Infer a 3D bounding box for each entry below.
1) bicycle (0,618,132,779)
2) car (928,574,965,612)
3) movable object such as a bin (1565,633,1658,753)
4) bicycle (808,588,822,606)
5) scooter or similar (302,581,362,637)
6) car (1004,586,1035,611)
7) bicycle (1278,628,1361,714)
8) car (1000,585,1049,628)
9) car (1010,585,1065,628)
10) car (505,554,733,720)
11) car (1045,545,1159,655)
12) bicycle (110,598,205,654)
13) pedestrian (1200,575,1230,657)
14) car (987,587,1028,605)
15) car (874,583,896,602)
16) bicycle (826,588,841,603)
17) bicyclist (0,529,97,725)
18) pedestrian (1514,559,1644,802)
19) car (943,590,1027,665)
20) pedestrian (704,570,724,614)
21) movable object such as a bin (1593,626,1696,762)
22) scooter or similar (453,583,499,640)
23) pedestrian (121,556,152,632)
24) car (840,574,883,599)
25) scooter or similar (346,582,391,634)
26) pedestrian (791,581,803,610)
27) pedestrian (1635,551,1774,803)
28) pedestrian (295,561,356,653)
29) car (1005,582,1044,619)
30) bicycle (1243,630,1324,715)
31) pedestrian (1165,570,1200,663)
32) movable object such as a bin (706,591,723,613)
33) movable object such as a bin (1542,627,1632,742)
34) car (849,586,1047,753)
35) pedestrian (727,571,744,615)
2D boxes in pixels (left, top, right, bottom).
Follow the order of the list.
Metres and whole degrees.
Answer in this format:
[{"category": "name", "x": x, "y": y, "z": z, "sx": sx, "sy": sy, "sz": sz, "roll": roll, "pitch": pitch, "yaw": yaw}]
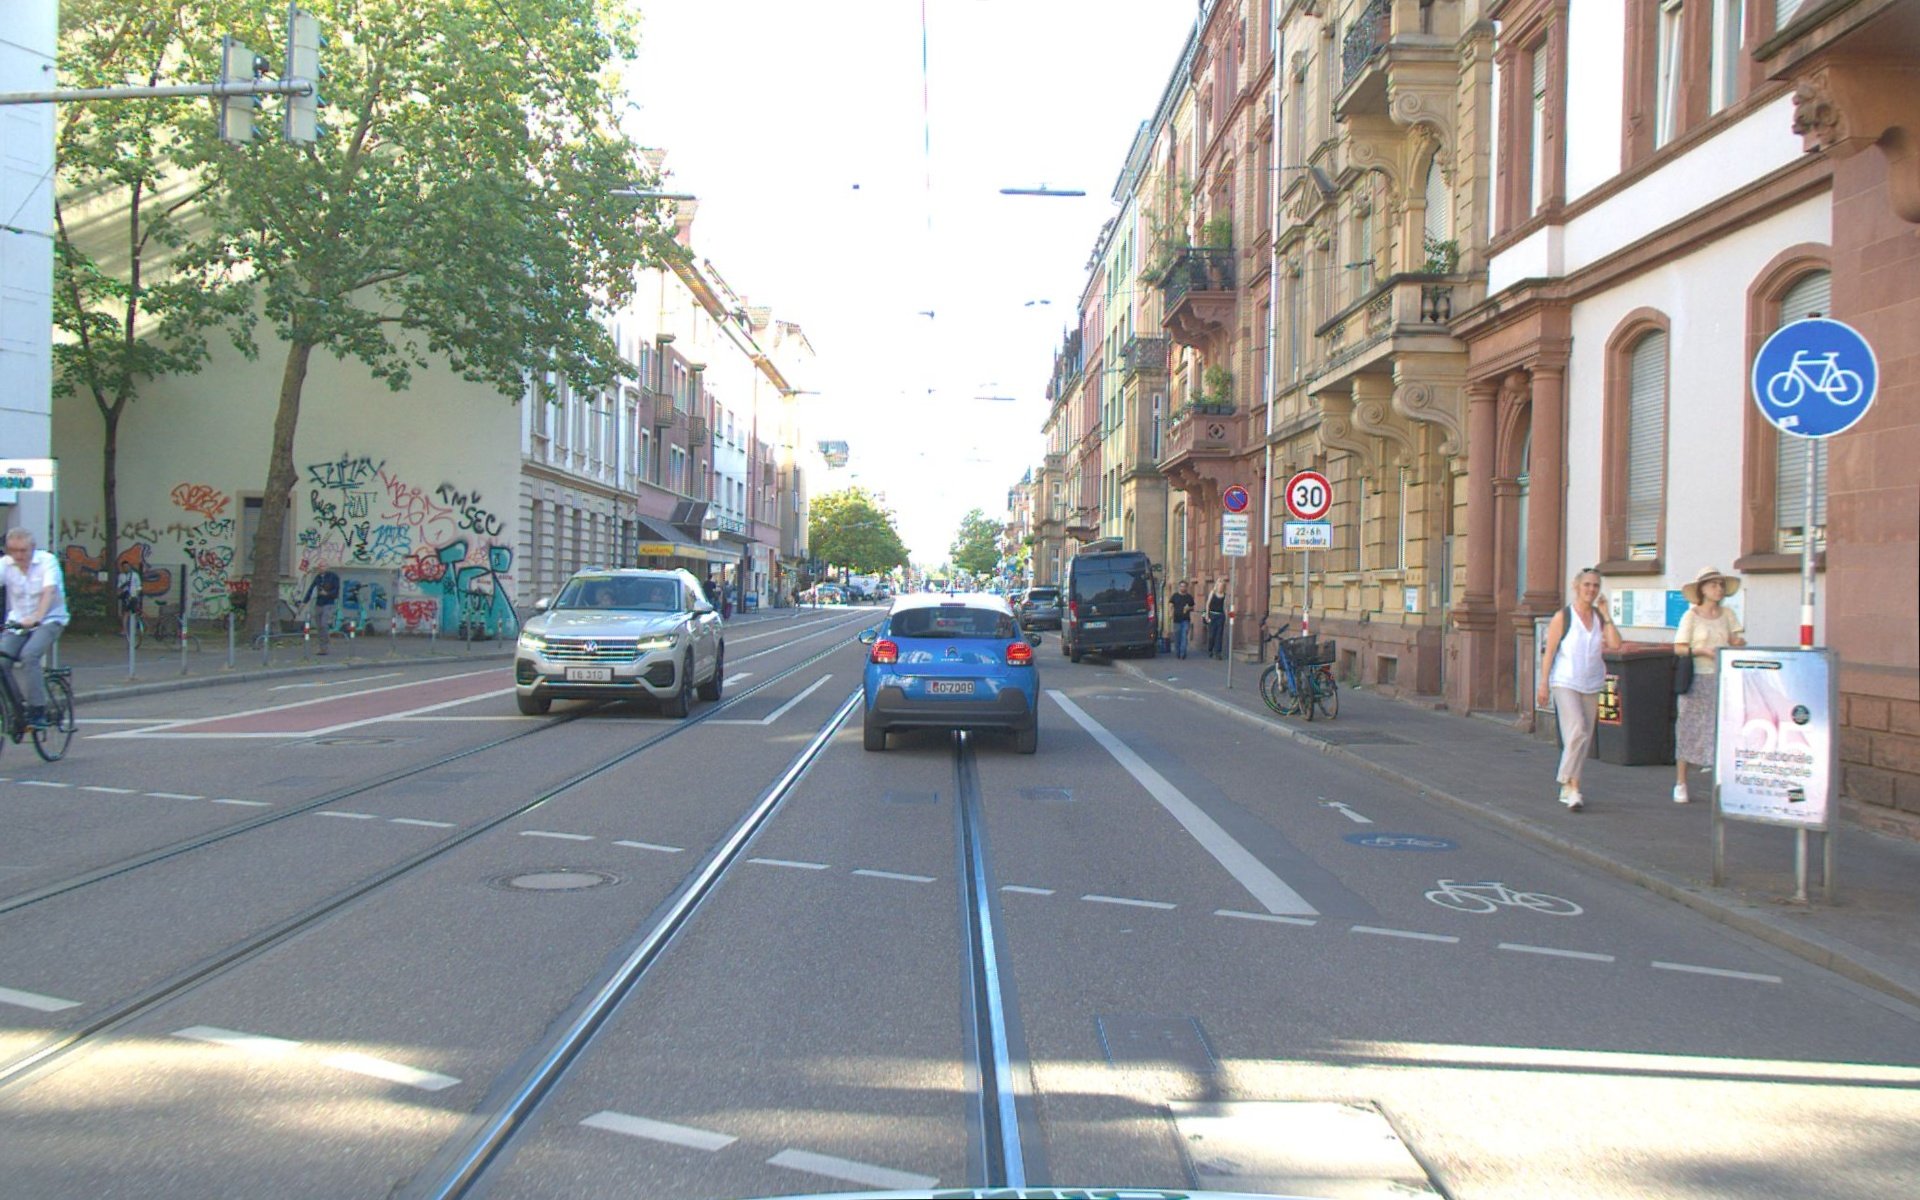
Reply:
[{"category": "bicycle", "x": -7.417, "y": 0.740, "z": 13.121, "sx": 0.678, "sy": 1.140, "sz": 2.083, "roll": -1, "pitch": 0, "yaw": -2}, {"category": "car", "x": -0.776, "y": -0.394, "z": 91.232, "sx": 1.953, "sy": 2.049, "sz": 3.999, "roll": 1, "pitch": 0, "yaw": -2}, {"category": "movable object such as a bin", "x": 6.142, "y": 0.868, "z": 15.612, "sx": 0.652, "sy": 1.095, "sz": 0.571, "roll": 0, "pitch": 0, "yaw": -2}, {"category": "bicycle", "x": -11.600, "y": -0.254, "z": 132.282, "sx": 1.099, "sy": 1.342, "sz": 3.639, "roll": 1, "pitch": 0, "yaw": -6}, {"category": "scooter or similar", "x": -14.729, "y": 0.198, "z": 38.815, "sx": 1.207, "sy": 1.280, "sz": 0.765, "roll": 1, "pitch": 0, "yaw": -13}, {"category": "car", "x": 4.175, "y": -0.124, "z": 116.927, "sx": 1.965, "sy": 1.701, "sz": 4.390, "roll": 0, "pitch": 0, "yaw": -1}, {"category": "bicycle", "x": 4.451, "y": 0.860, "z": 20.558, "sx": 0.423, "sy": 0.964, "sz": 1.760, "roll": 1, "pitch": 0, "yaw": -8}, {"category": "car", "x": 2.818, "y": 0.255, "z": 72.632, "sx": 1.867, "sy": 1.788, "sz": 3.999, "roll": 1, "pitch": 0, "yaw": -2}, {"category": "car", "x": 3.153, "y": 0.243, "z": 68.053, "sx": 1.965, "sy": 1.701, "sz": 4.805, "roll": 1, "pitch": 0, "yaw": -1}, {"category": "car", "x": -4.033, "y": 0.394, "z": 20.345, "sx": 1.953, "sy": 1.774, "sz": 4.561, "roll": 1, "pitch": 0, "yaw": -2}, {"category": "car", "x": 3.413, "y": -0.018, "z": 40.880, "sx": 2.225, "sy": 2.479, "sz": 5.719, "roll": 1, "pitch": 0, "yaw": -1}, {"category": "bicycle", "x": -15.851, "y": 0.495, "z": 32.677, "sx": 1.878, "sy": 1.052, "sz": 0.664, "roll": 1, "pitch": 0, "yaw": 26}, {"category": "pedestrian", "x": 5.712, "y": 0.345, "z": 37.065, "sx": 0.542, "sy": 1.813, "sz": 0.606, "roll": 1, "pitch": 0, "yaw": -2}, {"category": "car", "x": 4.552, "y": -0.374, "z": 157.797, "sx": 3.759, "sy": 1.646, "sz": 1.790, "roll": 1, "pitch": 0, "yaw": -3}, {"category": "car", "x": -6.921, "y": -0.689, "z": 153.917, "sx": 1.953, "sy": 1.680, "sz": 3.999, "roll": 1, "pitch": 0, "yaw": -2}, {"category": "bicycle", "x": -10.116, "y": -0.349, "z": 132.549, "sx": 1.099, "sy": 1.166, "sz": 3.639, "roll": 1, "pitch": 0, "yaw": -6}, {"category": "bicyclist", "x": -7.407, "y": 0.205, "z": 13.146, "sx": 0.668, "sy": 1.509, "sz": 0.778, "roll": 1, "pitch": 0, "yaw": -2}, {"category": "pedestrian", "x": 4.539, "y": 0.575, "z": 12.159, "sx": 0.615, "sy": 1.731, "sz": 0.681, "roll": 1, "pitch": 0, "yaw": -10}, {"category": "car", "x": 0.484, "y": 0.546, "z": 35.831, "sx": 1.633, "sy": 1.504, "sz": 3.999, "roll": 1, "pitch": 0, "yaw": -2}, {"category": "pedestrian", "x": -10.083, "y": -0.318, "z": 67.829, "sx": 0.696, "sy": 1.795, "sz": 0.570, "roll": 1, "pitch": 0, "yaw": -2}, {"category": "movable object such as a bin", "x": 6.208, "y": 0.840, "z": 15.024, "sx": 0.652, "sy": 1.173, "sz": 0.594, "roll": -2, "pitch": 1, "yaw": -2}, {"category": "scooter or similar", "x": -11.855, "y": 0.271, "z": 40.569, "sx": 0.772, "sy": 1.293, "sz": 1.074, "roll": 3, "pitch": 2, "yaw": -2}, {"category": "pedestrian", "x": -19.311, "y": -0.141, "z": 38.776, "sx": 0.446, "sy": 1.748, "sz": 0.547, "roll": 1, "pitch": 0, "yaw": -2}, {"category": "car", "x": -10.770, "y": -1.490, "z": 181.283, "sx": 4.256, "sy": 2.626, "sz": 2.191, "roll": 0, "pitch": 0, "yaw": -27}, {"category": "scooter or similar", "x": -14.304, "y": 0.186, "z": 40.018, "sx": 0.921, "sy": 1.243, "sz": 0.765, "roll": 1, "pitch": 0, "yaw": -13}, {"category": "pedestrian", "x": -9.643, "y": -0.273, "z": 97.942, "sx": 0.671, "sy": 1.667, "sz": 0.675, "roll": 1, "pitch": 0, "yaw": -2}, {"category": "pedestrian", "x": 5.524, "y": 0.555, "z": 12.304, "sx": 0.691, "sy": 1.813, "sz": 0.672, "roll": 1, "pitch": 0, "yaw": -2}, {"category": "pedestrian", "x": -12.689, "y": 0.141, "z": 33.090, "sx": 0.668, "sy": 1.796, "sz": 1.026, "roll": 1, "pitch": 0, "yaw": 10}, {"category": "car", "x": 3.558, "y": -0.001, "z": 92.272, "sx": 1.965, "sy": 1.701, "sz": 4.393, "roll": 1, "pitch": 4, "yaw": -1}, {"category": "bicycle", "x": 3.990, "y": 0.878, "z": 20.503, "sx": 0.423, "sy": 0.964, "sz": 1.760, "roll": 1, "pitch": 0, "yaw": -8}, {"category": "pedestrian", "x": 5.049, "y": 0.360, "z": 37.573, "sx": 0.573, "sy": 2.048, "sz": 0.823, "roll": 3, "pitch": 1, "yaw": -1}, {"category": "movable object such as a bin", "x": -10.179, "y": 0.082, "z": 68.544, "sx": 0.598, "sy": 0.930, "sz": 0.695, "roll": 1, "pitch": 0, "yaw": -1}, {"category": "movable object such as a bin", "x": 6.158, "y": 0.822, "z": 16.257, "sx": 0.652, "sy": 1.095, "sz": 0.571, "roll": 0, "pitch": 1, "yaw": -2}, {"category": "car", "x": -0.238, "y": 0.622, "z": 17.055, "sx": 1.642, "sy": 1.503, "sz": 3.995, "roll": 1, "pitch": 0, "yaw": -6}, {"category": "pedestrian", "x": -9.223, "y": -0.286, "z": 67.921, "sx": 0.697, "sy": 1.795, "sz": 0.653, "roll": 1, "pitch": 0, "yaw": -9}]
